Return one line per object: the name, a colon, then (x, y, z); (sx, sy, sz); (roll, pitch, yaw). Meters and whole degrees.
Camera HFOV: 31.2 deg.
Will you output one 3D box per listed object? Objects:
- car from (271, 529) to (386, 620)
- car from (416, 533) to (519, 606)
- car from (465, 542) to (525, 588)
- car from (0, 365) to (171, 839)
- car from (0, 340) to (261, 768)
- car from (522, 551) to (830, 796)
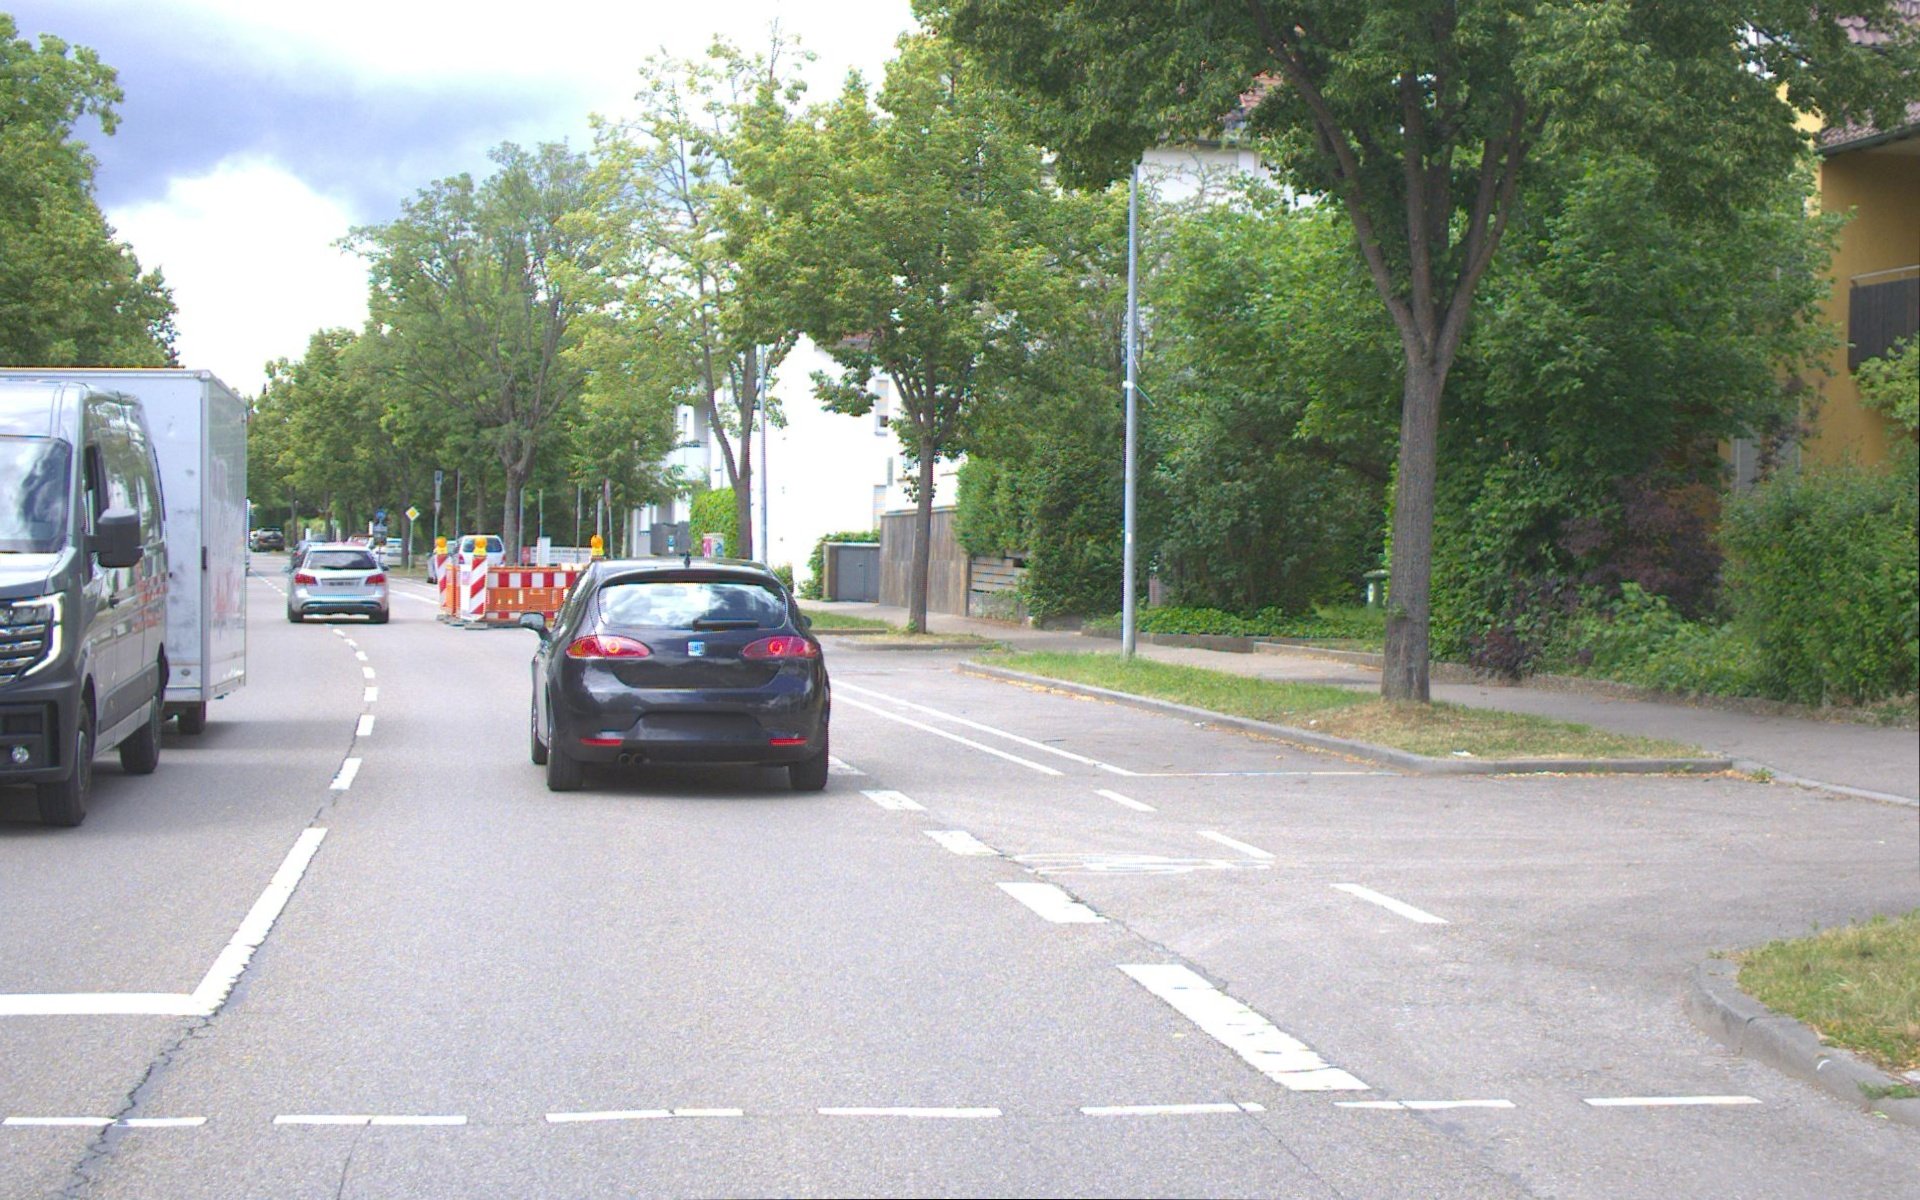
car: (-12.062, -0.499, 65.526); (1.905, 1.680, 3.741); (0, 1, -14)
car: (-9.925, -0.634, 69.133); (1.809, 1.410, 3.694); (1, 1, -12)
car: (-14.939, -1.142, 110.574); (1.809, 1.410, 3.694); (1, 1, -6)
car: (-5.801, -0.035, 19.727); (2.028, 2.376, 5.263); (0, 1, -8)
car: (-6.657, -0.365, 25.880); (2.287, 2.782, 7.145); (0, 1, -8)
car: (-1.907, 0.411, 22.272); (1.818, 1.433, 3.741); (0, 1, -7)
